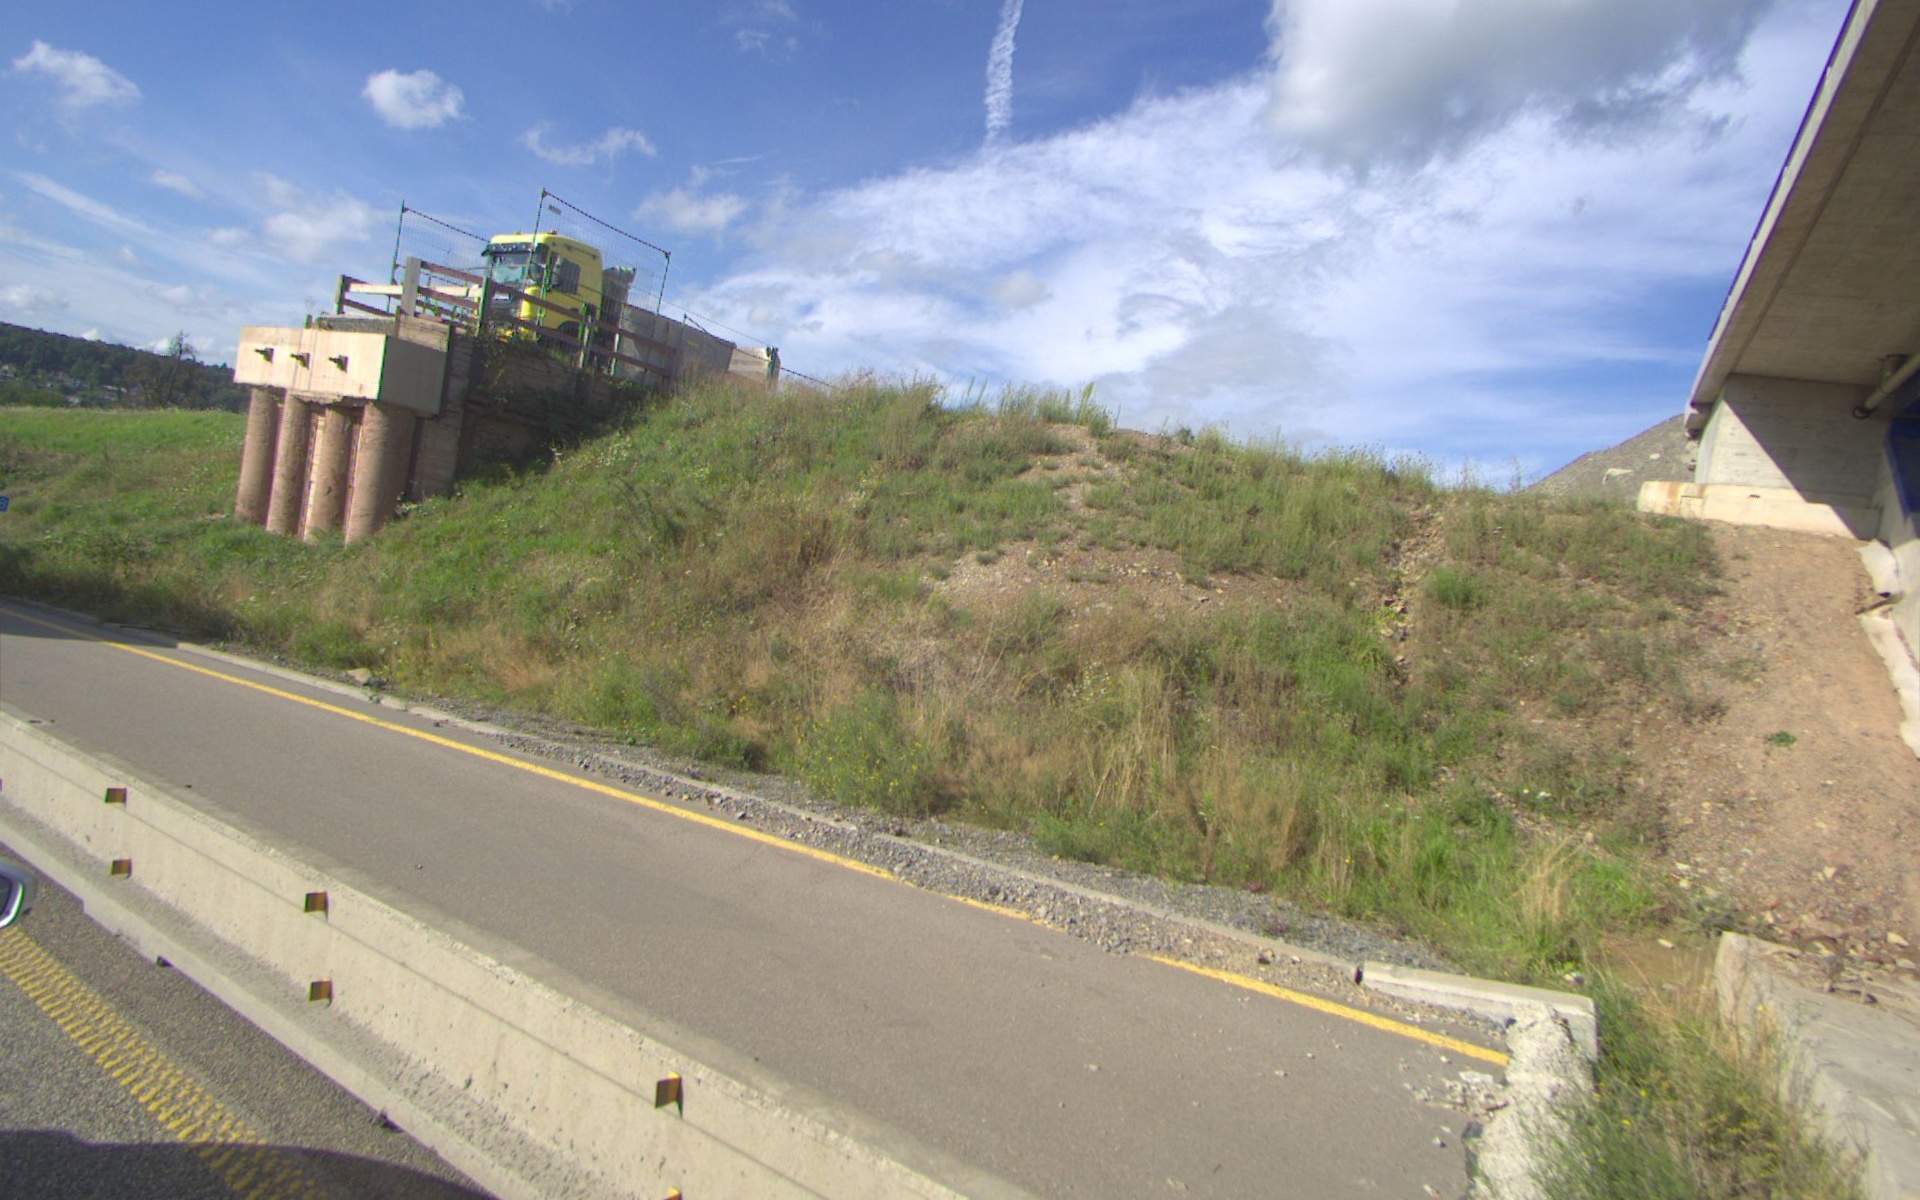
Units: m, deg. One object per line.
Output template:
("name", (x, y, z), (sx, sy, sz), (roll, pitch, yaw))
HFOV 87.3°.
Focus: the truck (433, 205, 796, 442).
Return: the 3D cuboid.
("truck", (-8.743, -6.923, 27.115), (2.910, 3.266, 9.279), (7, -1, 31))
